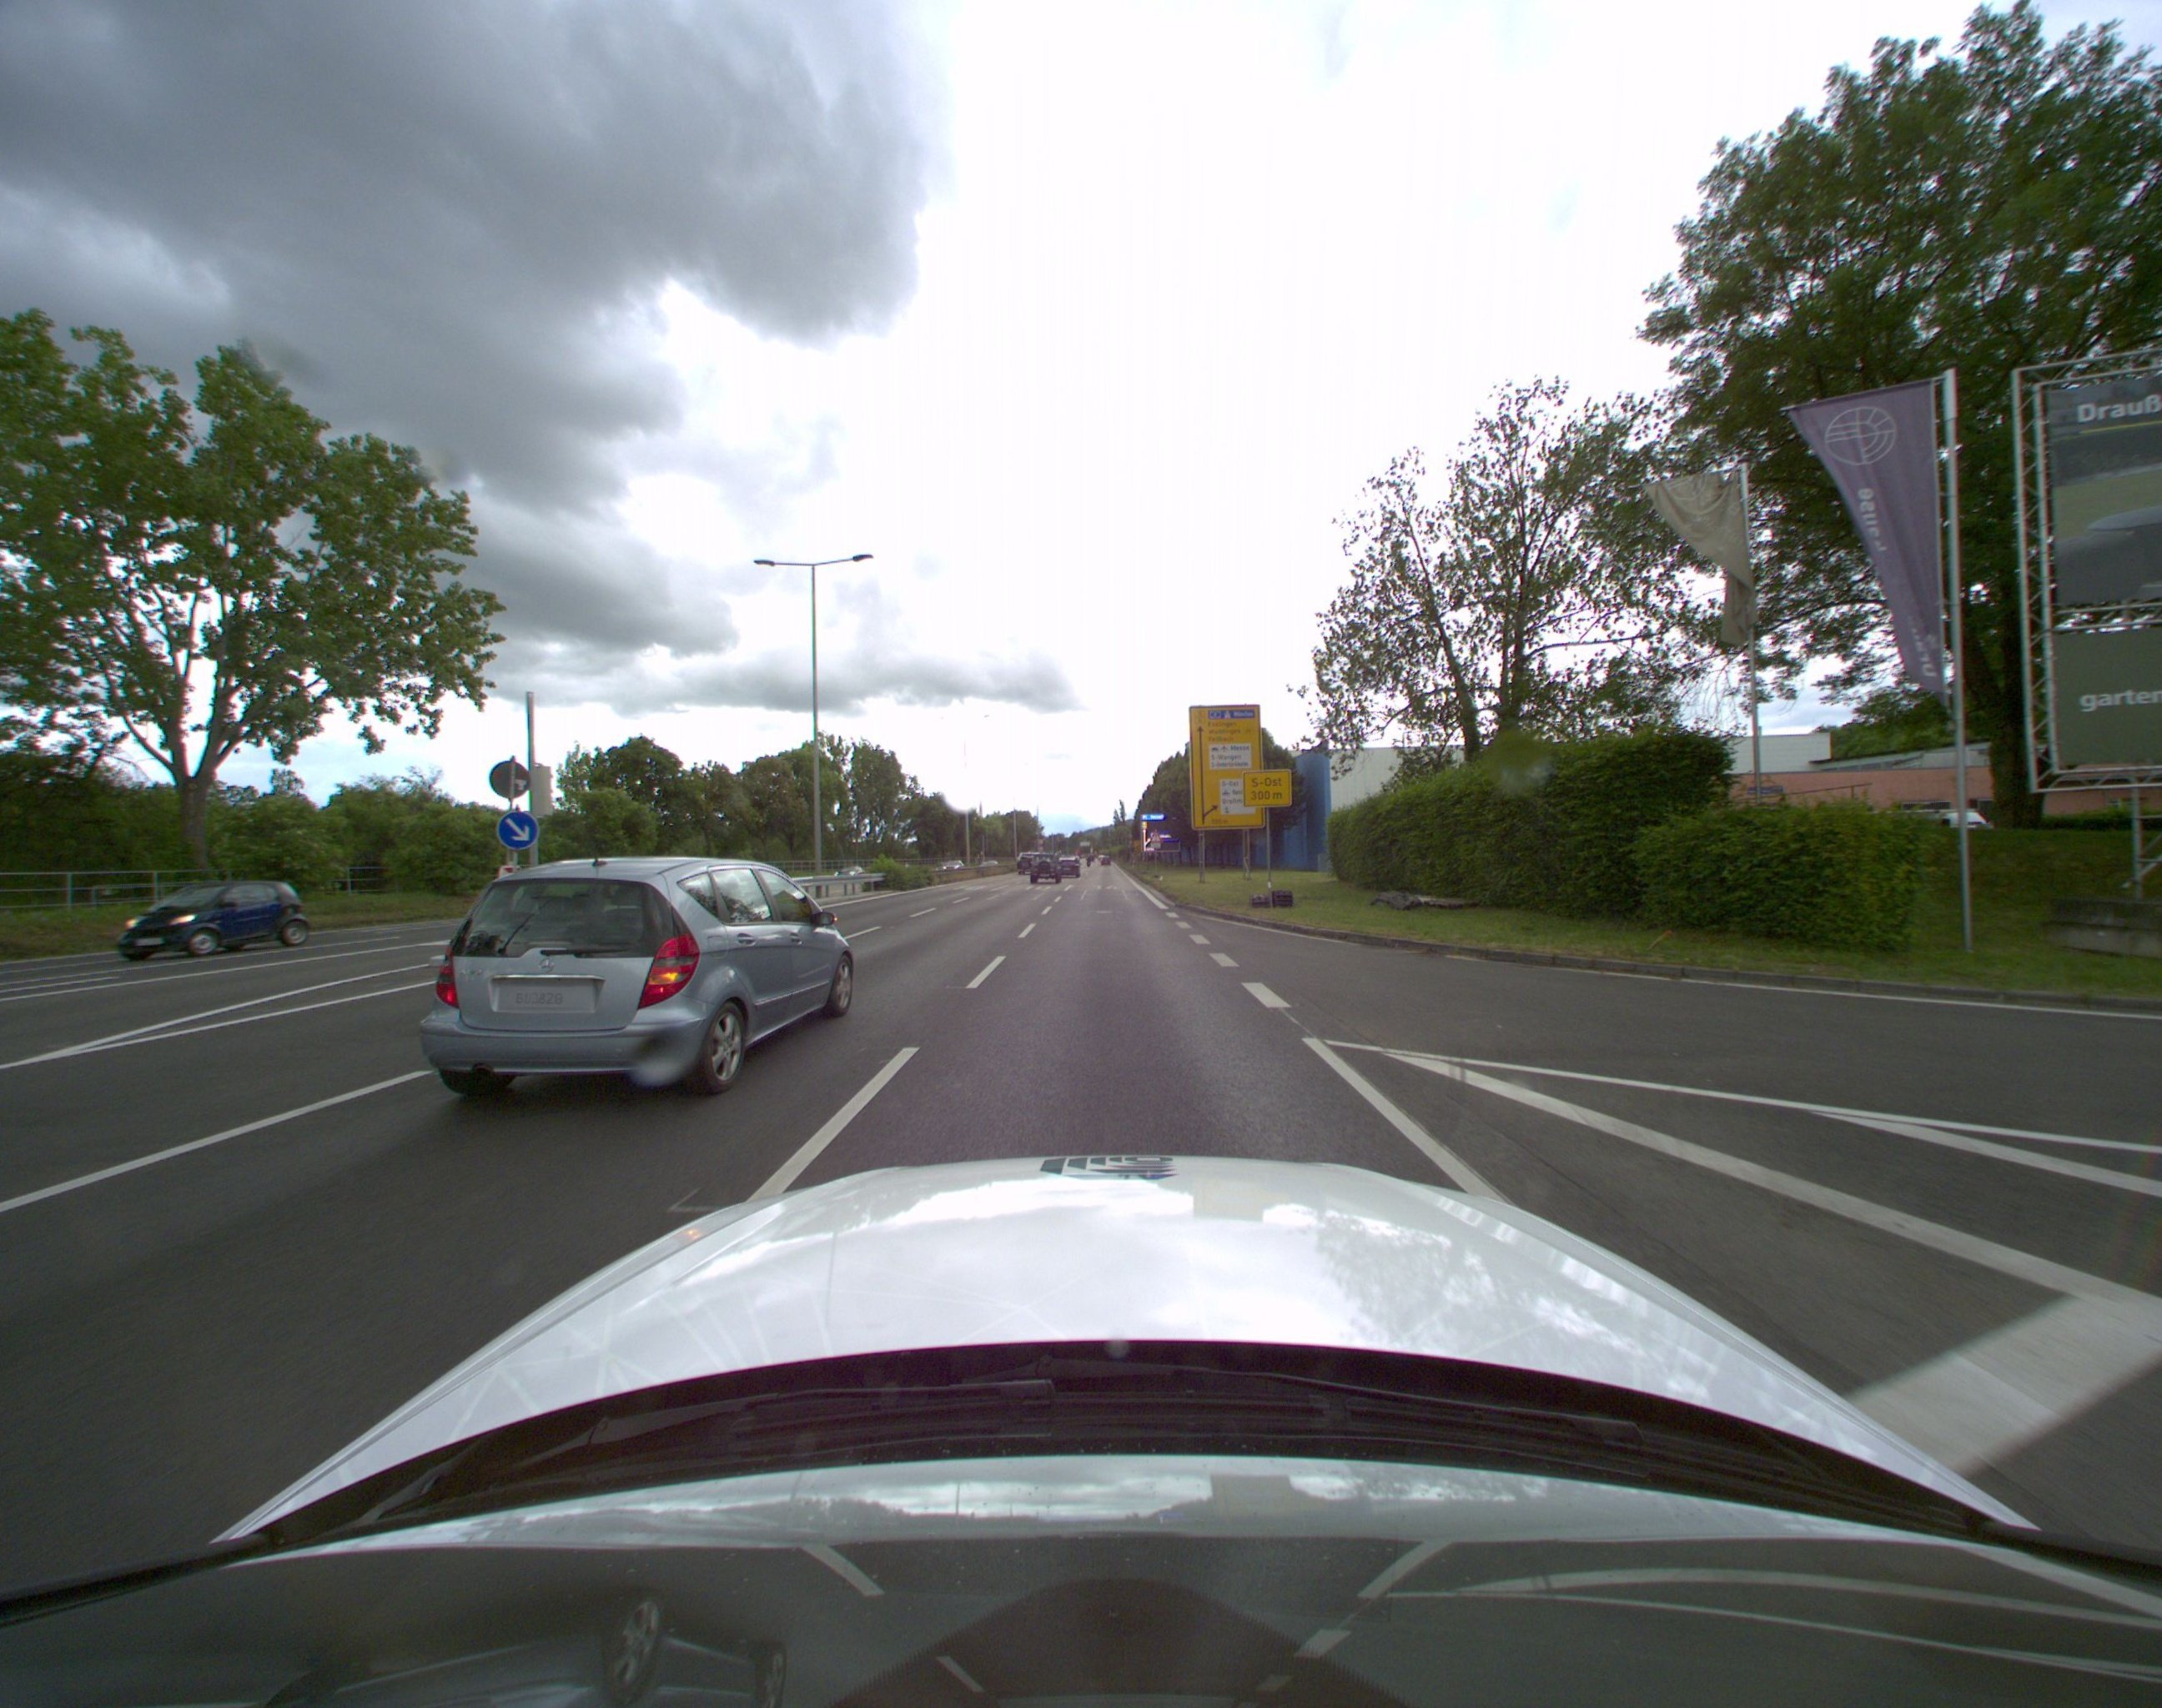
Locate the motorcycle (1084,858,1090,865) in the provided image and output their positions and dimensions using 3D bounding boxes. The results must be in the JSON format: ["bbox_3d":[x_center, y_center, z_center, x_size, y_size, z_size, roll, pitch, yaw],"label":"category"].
[{"bbox_3d":[0.890,1.072,122.056,0.703,1.040,2.028,1,0,3],"label":"motorcycle"}]

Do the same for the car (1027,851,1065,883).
[{"bbox_3d":[-1.954,0.718,46.786,1.901,1.684,4.001,1,0,1],"label":"car"}]

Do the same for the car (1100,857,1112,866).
[{"bbox_3d":[4.237,1.297,139.814,1.987,1.552,4.000,1,0,0],"label":"car"}]

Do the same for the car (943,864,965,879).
[{"bbox_3d":[-15.404,2.095,99.098,1.986,1.640,4.001,1,0,1],"label":"car"}]

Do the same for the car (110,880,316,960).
[{"bbox_3d":[-18.549,1.360,17.569,1.467,1.463,2.738,1,0,1],"label":"car"}]

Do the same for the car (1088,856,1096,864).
[{"bbox_3d":[2.715,1.488,208.494,1.986,2.013,4.001,1,0,1],"label":"car"}]

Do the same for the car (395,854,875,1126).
[{"bbox_3d":[-3.097,0.789,6.734,1.704,1.530,4.001,1,0,1],"label":"car"}]

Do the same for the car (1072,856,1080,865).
[{"bbox_3d":[-1.190,1.543,199.340,1.986,2.013,4.001,1,0,1],"label":"car"}]

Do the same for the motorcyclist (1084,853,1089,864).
[{"bbox_3d":[0.884,0.651,122.062,0.682,1.610,0.846,1,0,3],"label":"motorcyclist"}]

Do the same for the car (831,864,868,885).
[{"bbox_3d":[-20.168,1.782,71.217,1.986,1.640,4.001,1,0,1],"label":"car"}]

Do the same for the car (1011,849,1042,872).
[{"bbox_3d":[-4.744,0.564,71.392,2.206,1.925,5.004,1,0,1],"label":"car"}]

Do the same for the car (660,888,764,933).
[{"bbox_3d":[-15.109,2.264,33.664,1.986,1.493,4.806,1,1,1],"label":"car"}]

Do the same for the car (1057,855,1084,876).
[{"bbox_3d":[-0.759,0.814,60.158,1.833,1.464,4.001,1,0,1],"label":"car"}]
